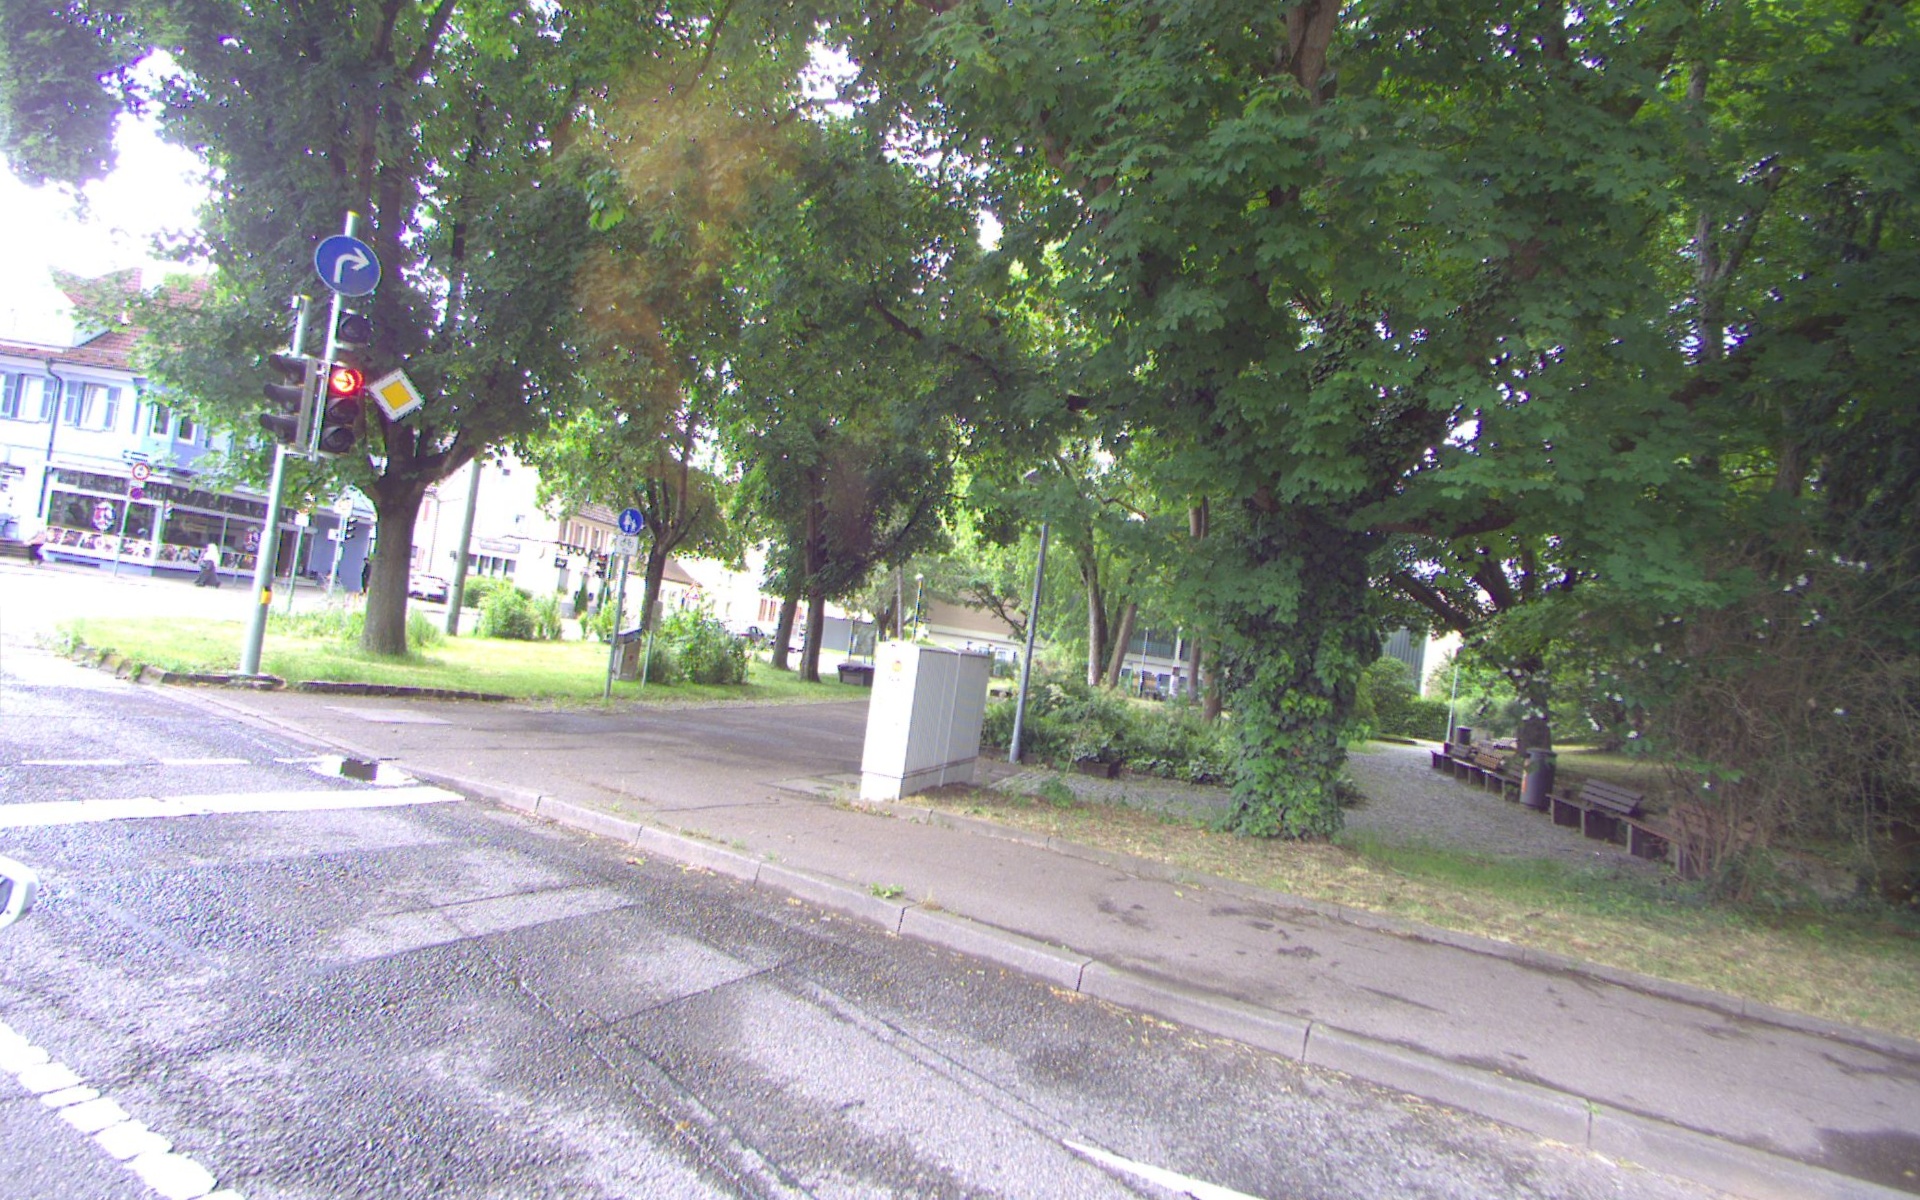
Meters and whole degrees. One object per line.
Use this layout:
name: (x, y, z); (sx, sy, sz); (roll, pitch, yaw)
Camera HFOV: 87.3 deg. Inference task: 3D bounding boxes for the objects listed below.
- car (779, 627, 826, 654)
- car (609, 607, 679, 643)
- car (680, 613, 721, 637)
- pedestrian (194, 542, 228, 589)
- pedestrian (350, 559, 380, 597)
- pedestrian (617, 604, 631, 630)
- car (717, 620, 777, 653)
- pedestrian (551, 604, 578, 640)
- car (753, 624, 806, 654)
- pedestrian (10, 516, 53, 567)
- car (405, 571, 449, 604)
car: (-10.274, 2.659, 66.038); (1.618, 1.474, 3.740); (7, -2, 13)
car: (-13.810, 1.131, 44.097); (1.436, 1.282, 3.014); (7, -2, 13)
car: (-19.054, 1.880, 74.129); (1.736, 1.463, 3.865); (7, -2, 2)
pedestrian: (-26.539, -1.221, 35.656); (0.688, 1.578, 0.662); (7, -1, -27)
pedestrian: (-26.823, -0.978, 45.351); (0.732, 1.578, 0.673); (6, -1, 17)
pedestrian: (-21.247, 1.065, 63.611); (0.500, 1.578, 0.505); (6, -1, 17)
car: (-11.563, 2.018, 54.933); (1.618, 1.474, 3.740); (7, -2, 13)
pedestrian: (-13.016, 0.718, 33.117); (0.506, 1.093, 0.507); (6, -1, 17)
car: (-10.699, 2.342, 59.907); (1.618, 1.474, 3.740); (7, -2, 13)
pedestrian: (-30.862, -1.943, 33.459); (0.725, 1.578, 0.763); (7, -1, -27)
car: (-28.174, -0.687, 53.160); (1.870, 1.406, 3.589); (9, -2, -28)
